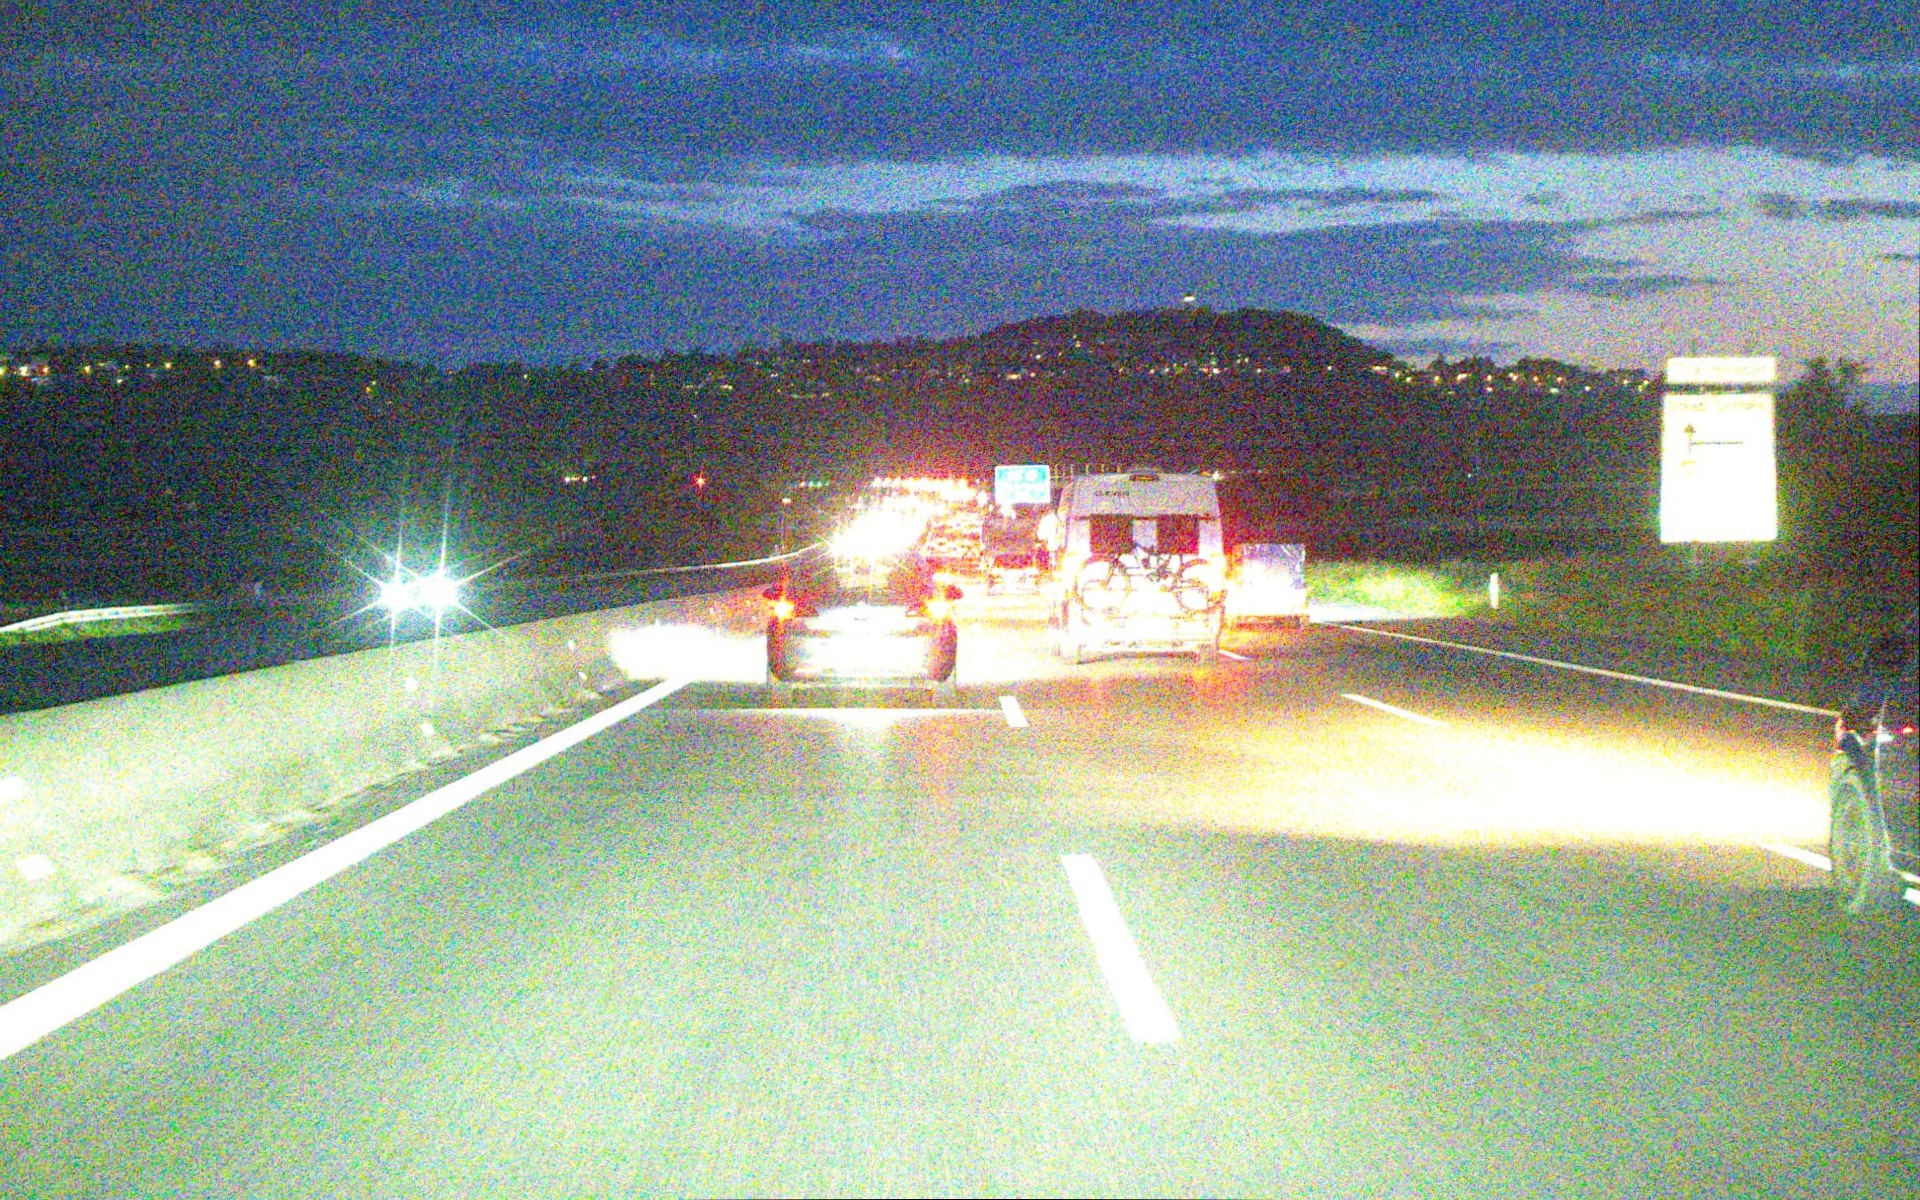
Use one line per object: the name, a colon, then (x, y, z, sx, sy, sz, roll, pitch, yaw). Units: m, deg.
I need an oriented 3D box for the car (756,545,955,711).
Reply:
car: (-0.952, 0.226, 33.080, 1.793, 1.464, 3.773, 0, 1, 0)

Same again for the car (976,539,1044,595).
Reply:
car: (1.763, -1.177, 122.512, 2.351, 1.907, 4.723, -1, 1, 0)

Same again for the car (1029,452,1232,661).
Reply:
car: (2.153, -0.600, 45.150, 2.351, 2.526, 5.701, -1, 1, 0)

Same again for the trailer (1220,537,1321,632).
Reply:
trailer: (5.650, -0.300, 62.757, 1.566, 1.687, 2.821, -1, 1, 0)

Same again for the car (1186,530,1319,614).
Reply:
car: (5.609, -0.555, 66.422, 2.163, 1.558, 4.723, 0, 1, 0)

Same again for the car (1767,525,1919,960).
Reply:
car: (4.333, 0.524, 12.536, 1.646, 1.591, 4.510, 0, 1, -1)

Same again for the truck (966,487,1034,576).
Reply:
truck: (1.813, -3.137, 158.517, 2.781, 3.942, 7.994, -1, 1, -2)

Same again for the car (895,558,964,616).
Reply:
car: (-0.788, -0.361, 91.549, 1.744, 1.435, 4.368, -1, 1, 0)

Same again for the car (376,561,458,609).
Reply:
car: (-17.744, -0.504, 112.482, 1.993, 1.414, 4.984, -3, 1, -2)

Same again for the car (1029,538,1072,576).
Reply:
car: (5.198, -2.484, 198.554, 2.351, 2.068, 4.723, -1, 1, 0)
